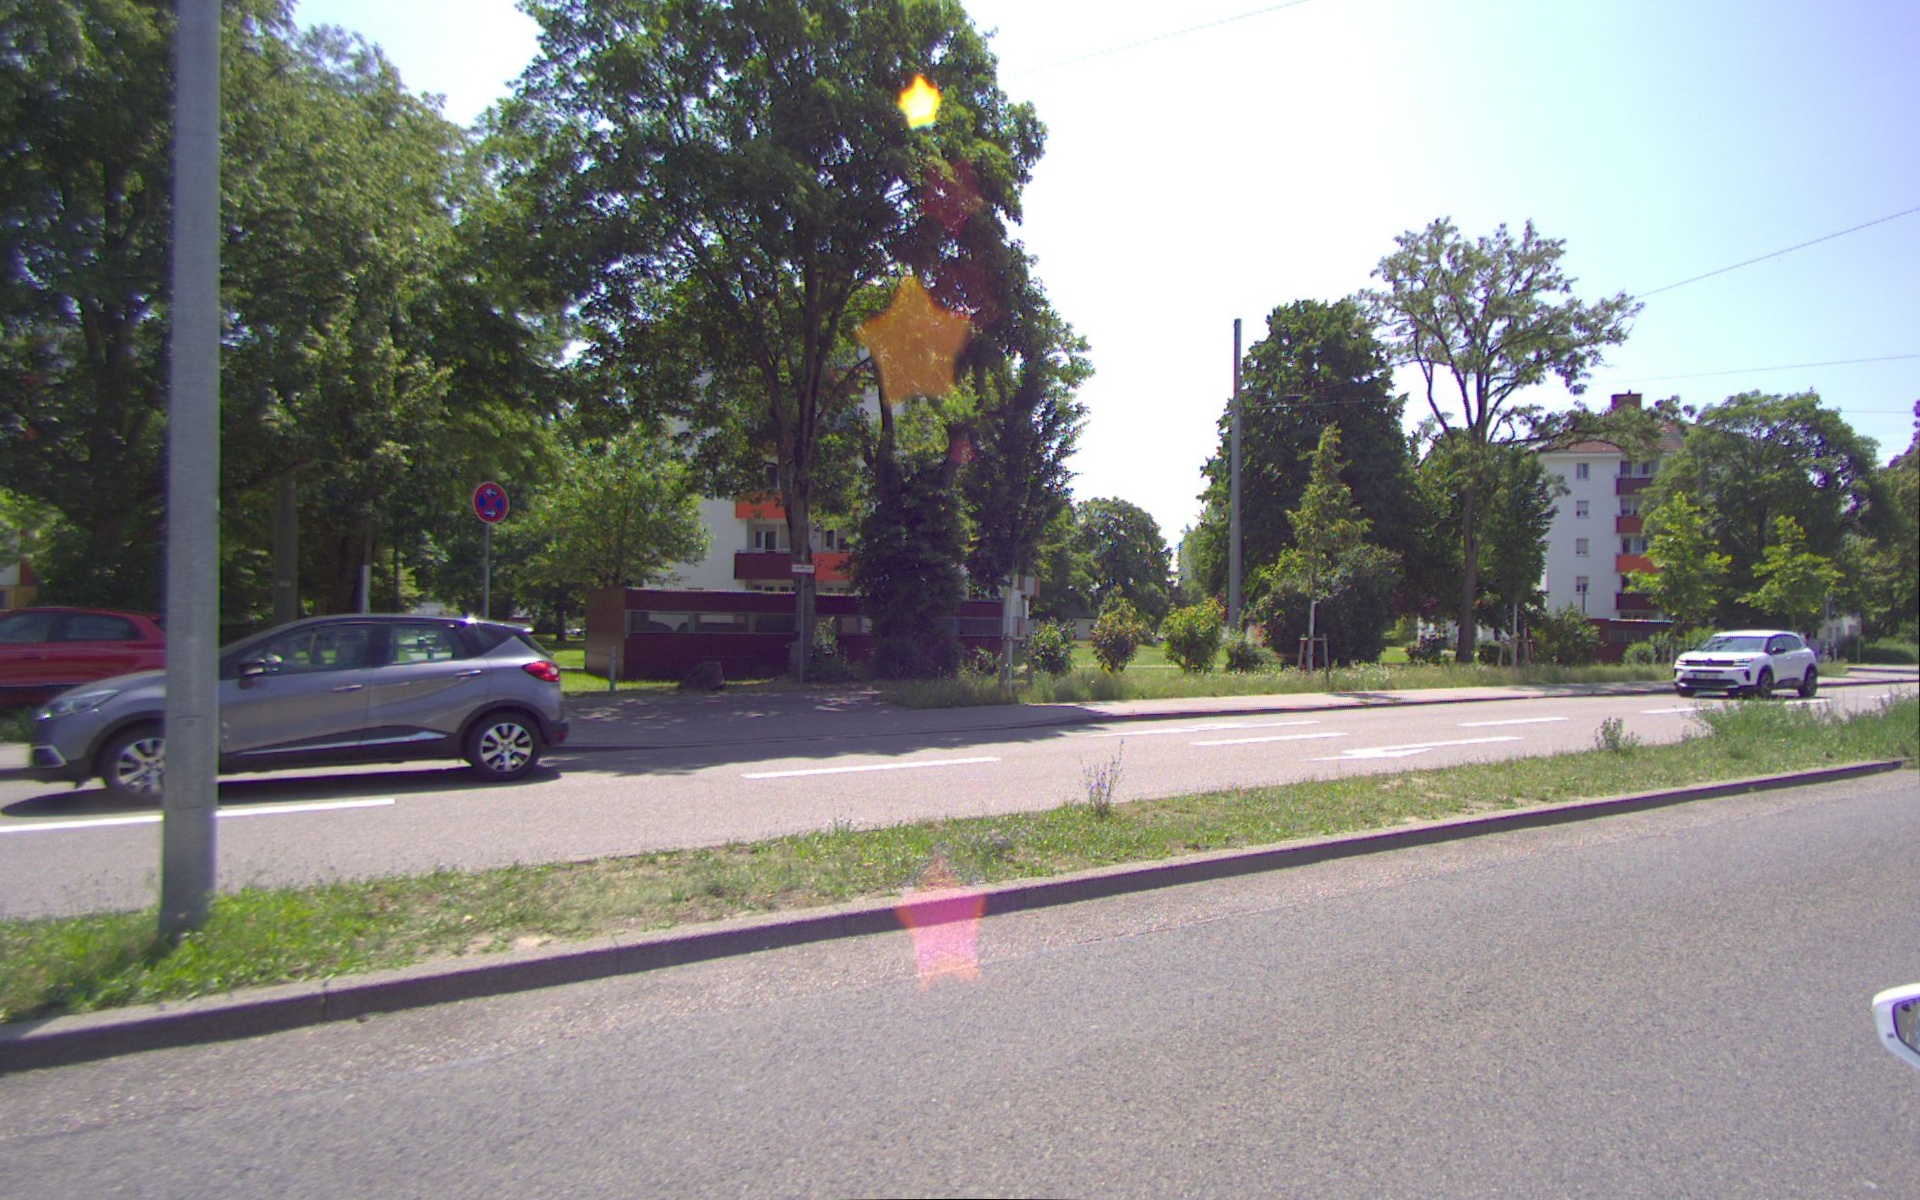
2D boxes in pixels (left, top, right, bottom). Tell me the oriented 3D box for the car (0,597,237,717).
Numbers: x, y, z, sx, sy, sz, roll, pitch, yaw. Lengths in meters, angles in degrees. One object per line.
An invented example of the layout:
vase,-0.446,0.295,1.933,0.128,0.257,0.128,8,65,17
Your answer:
car,-12.978,0.788,14.439,3.953,1.606,1.984,1,-2,-30

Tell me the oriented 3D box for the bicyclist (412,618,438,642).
bicyclist,-30.105,1.677,56.568,0.752,1.301,1.779,1,-2,-10

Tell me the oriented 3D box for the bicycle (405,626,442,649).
bicycle,-30.044,2.084,56.304,0.922,1.261,3.009,1,-2,-11

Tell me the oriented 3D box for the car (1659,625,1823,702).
car,19.758,1.597,25.366,4.430,1.781,1.850,3,-2,-32

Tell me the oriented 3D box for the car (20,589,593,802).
car,-5.700,0.835,9.297,4.039,1.574,1.758,3,-4,-33
